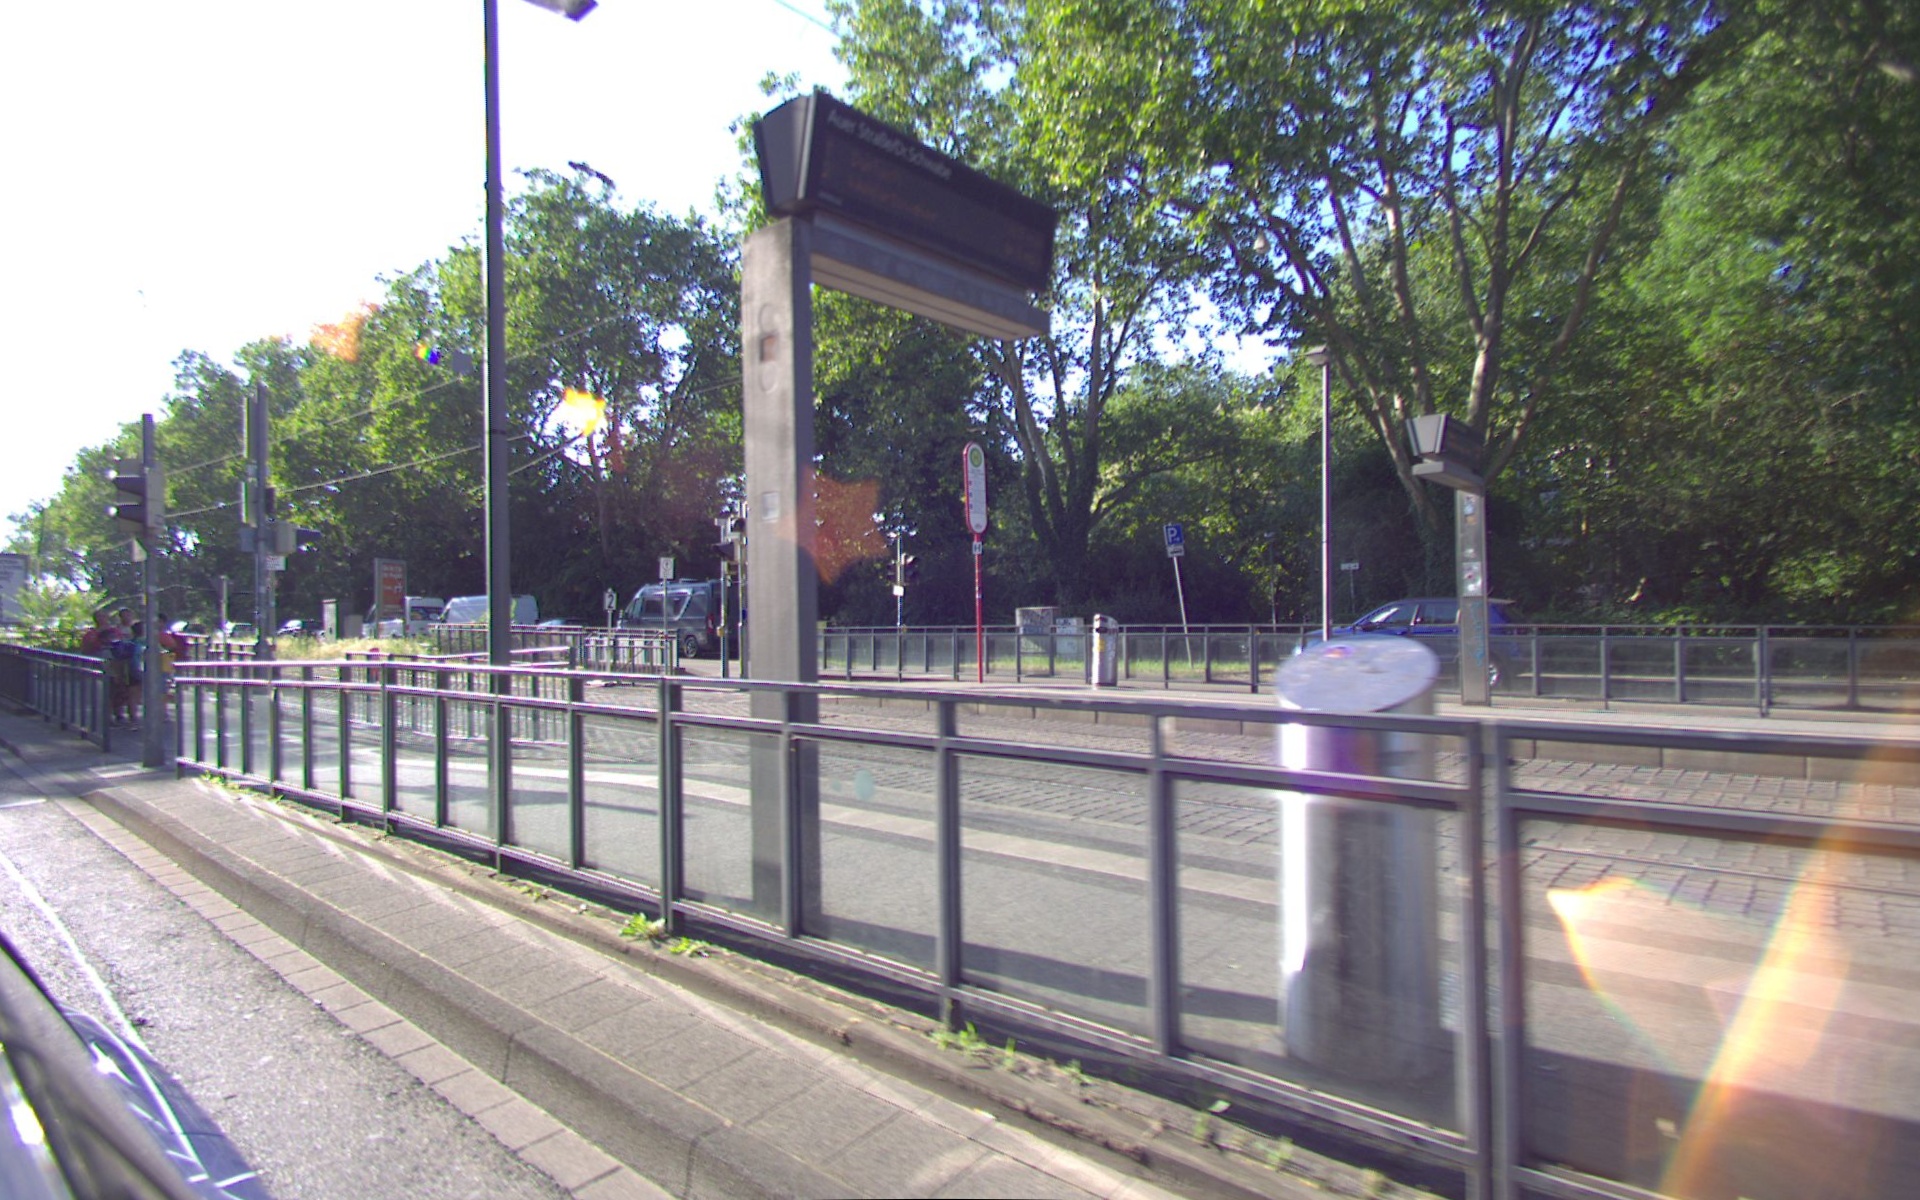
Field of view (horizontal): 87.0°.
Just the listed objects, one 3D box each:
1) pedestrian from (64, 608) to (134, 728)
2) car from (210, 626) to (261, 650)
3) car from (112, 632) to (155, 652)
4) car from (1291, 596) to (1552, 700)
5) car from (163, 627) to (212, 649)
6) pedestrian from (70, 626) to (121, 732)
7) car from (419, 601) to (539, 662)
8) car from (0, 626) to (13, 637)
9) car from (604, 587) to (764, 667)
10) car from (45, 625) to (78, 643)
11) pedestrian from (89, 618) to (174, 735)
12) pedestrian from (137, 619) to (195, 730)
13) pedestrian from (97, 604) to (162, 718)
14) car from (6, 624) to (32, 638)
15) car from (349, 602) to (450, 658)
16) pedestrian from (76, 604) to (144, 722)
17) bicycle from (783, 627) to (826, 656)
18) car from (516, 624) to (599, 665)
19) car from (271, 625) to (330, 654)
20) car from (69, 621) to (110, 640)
[{"bbox_3d":[-11.334,0.887,13.320,0.514,1.531,0.583,-1,-3,41],"label":"pedestrian"},{"bbox_3d":[-47.115,2.453,65.756,3.848,1.448,1.722,-1,-2,39],"label":"car"},{"bbox_3d":[-66.188,3.326,81.039,4.390,1.517,1.809,-1,-2,39],"label":"car"},{"bbox_3d":[8.251,0.823,18.238,3.967,1.664,1.884,-1,-2,38],"label":"car"},{"bbox_3d":[-55.363,2.709,72.468,4.319,1.448,1.809,-1,-2,39],"label":"car"},{"bbox_3d":[-11.039,0.996,12.923,0.359,1.331,0.411,-1,-3,41],"label":"pedestrian"},{"bbox_3d":[-21.155,1.361,44.367,6.263,2.540,2.162,-1,-2,38],"label":"car"},{"bbox_3d":[-126.023,4.117,133.036,3.921,1.511,1.638,-1,-2,39],"label":"car"},{"bbox_3d":[-9.524,0.921,34.605,6.027,2.540,2.161,-1,-2,40],"label":"car"},{"bbox_3d":[-92.179,3.459,103.823,4.390,1.854,1.809,-1,-2,39],"label":"car"},{"bbox_3d":[-10.411,0.947,12.728,0.555,1.417,0.587,0,-2,21],"label":"pedestrian"},{"bbox_3d":[-10.979,1.013,13.994,0.514,1.483,0.514,-1,-3,42],"label":"pedestrian"},{"bbox_3d":[-11.772,0.860,14.360,0.512,1.580,0.509,1,-2,-19],"label":"pedestrian"},{"bbox_3d":[-113.594,3.733,122.130,3.896,1.753,1.713,-1,-2,39],"label":"car"},{"bbox_3d":[-27.350,1.448,49.267,6.044,2.540,2.162,-1,-2,39],"label":"car"},{"bbox_3d":[-11.648,0.862,13.881,0.512,1.580,0.509,1,-2,-19],"label":"pedestrian"},{"bbox_3d":[-5.857,1.556,38.165,1.863,1.037,0.575,-2,-2,43],"label":"bicycle"},{"bbox_3d":[-16.035,1.745,40.244,3.261,1.524,1.636,-1,-2,38],"label":"car"},{"bbox_3d":[-37.827,2.241,58.047,3.878,1.567,1.722,-1,-2,39],"label":"car"},{"bbox_3d":[-80.253,2.826,93.267,4.384,1.732,1.811,-1,-2,35],"label":"car"}]
